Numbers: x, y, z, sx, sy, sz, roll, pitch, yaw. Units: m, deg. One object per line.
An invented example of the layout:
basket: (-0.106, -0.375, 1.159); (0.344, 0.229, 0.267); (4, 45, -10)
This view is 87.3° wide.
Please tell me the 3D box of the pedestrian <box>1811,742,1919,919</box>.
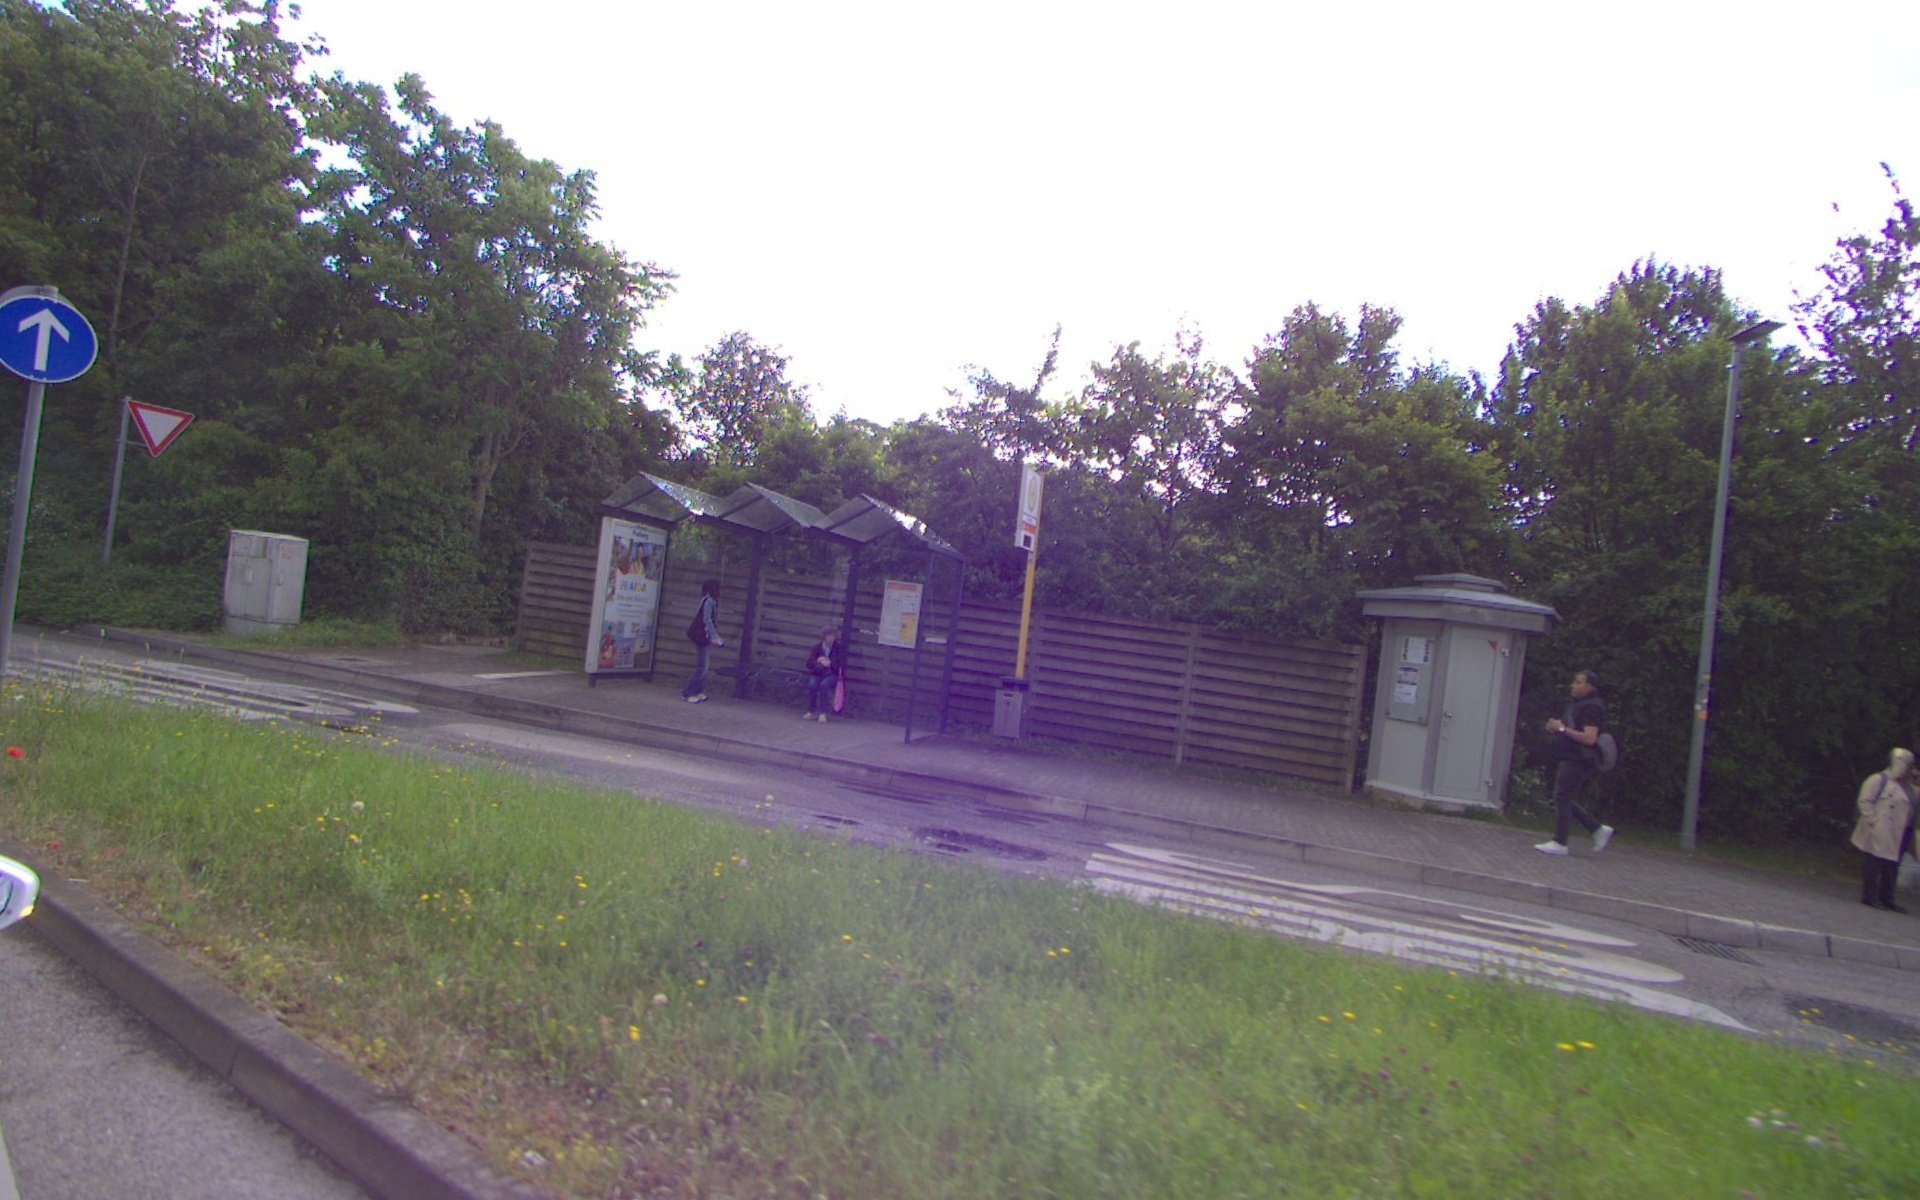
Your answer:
pedestrian: (9.424, 2.332, 10.248); (0.756, 1.613, 0.687); (7, 0, 9)

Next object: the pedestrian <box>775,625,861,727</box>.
pedestrian: (-1.819, 0.971, 12.986); (0.756, 1.184, 0.751); (7, 0, 12)

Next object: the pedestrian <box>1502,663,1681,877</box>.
pedestrian: (6.191, 1.627, 9.920); (0.966, 1.843, 0.857); (9, 0, 3)

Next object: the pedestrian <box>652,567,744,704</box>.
pedestrian: (-3.427, 0.464, 13.189); (0.756, 1.669, 0.687); (7, 0, 11)
